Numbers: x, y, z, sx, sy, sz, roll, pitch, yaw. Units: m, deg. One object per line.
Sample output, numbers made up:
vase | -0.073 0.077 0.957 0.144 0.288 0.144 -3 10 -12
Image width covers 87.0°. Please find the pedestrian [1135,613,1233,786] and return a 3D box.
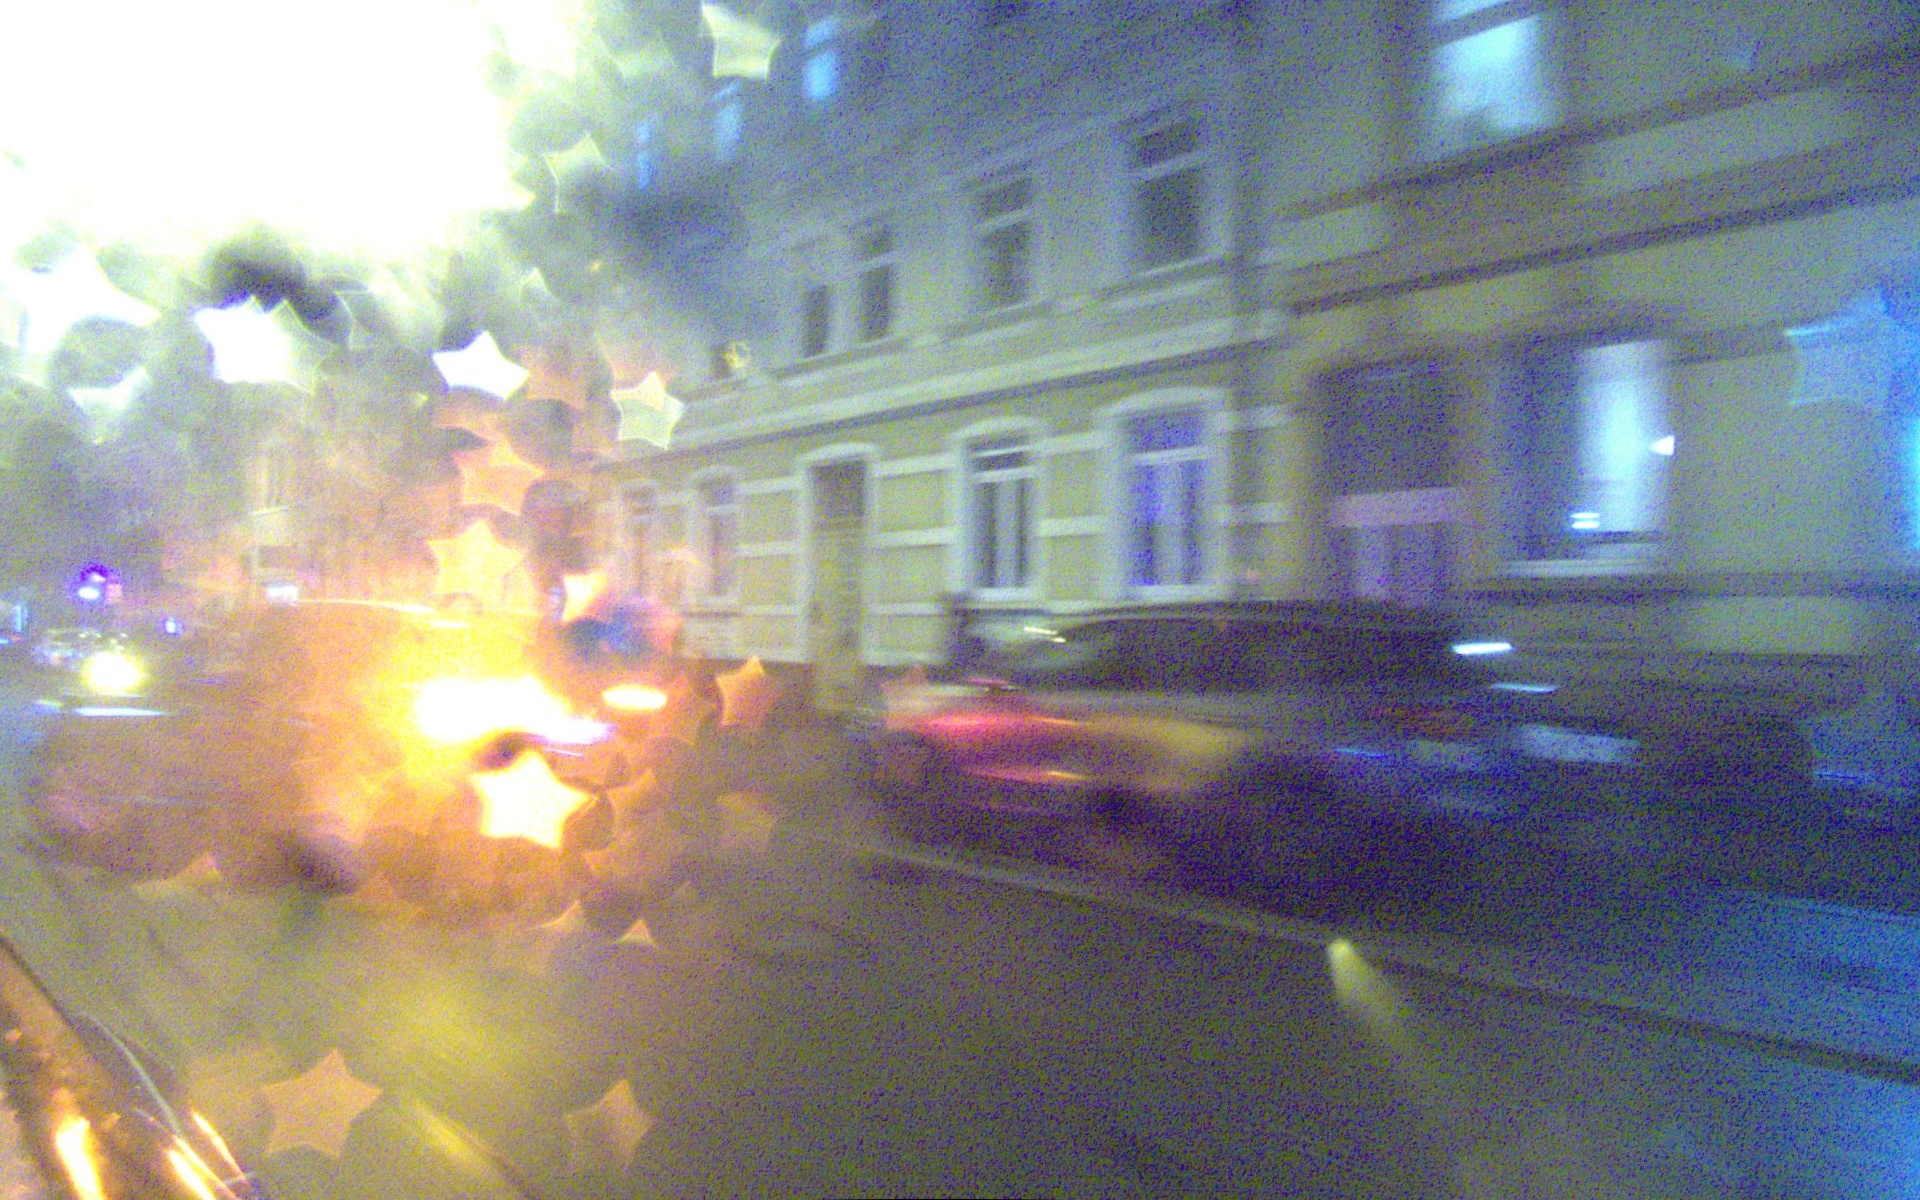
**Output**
pedestrian | 2.162 0.924 9.730 0.759 1.564 0.652 -1 1 27

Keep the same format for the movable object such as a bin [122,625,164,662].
movable object such as a bin | -33.775 1.787 41.838 1.377 1.465 1.090 -1 -3 39

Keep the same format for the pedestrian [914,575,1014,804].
pedestrian | 0.048 0.779 9.195 0.762 1.988 0.656 -1 1 12

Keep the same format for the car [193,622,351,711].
car | -13.700 1.238 20.090 3.764 1.600 1.727 -1 -2 41

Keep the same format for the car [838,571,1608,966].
car | 1.402 0.785 6.659 4.592 1.730 1.813 -1 -2 42

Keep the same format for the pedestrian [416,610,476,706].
pedestrian | -10.141 1.115 19.966 0.987 1.818 0.735 -1 1 45

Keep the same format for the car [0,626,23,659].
car | -47.754 2.103 49.952 4.771 1.494 1.749 -2 1 42

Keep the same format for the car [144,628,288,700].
car | -17.200 1.394 23.324 4.305 1.492 1.813 -1 -2 41

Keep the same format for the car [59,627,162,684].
car | -25.531 1.617 30.376 4.133 1.584 1.756 -1 -2 41

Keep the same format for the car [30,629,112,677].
car | -30.610 1.790 34.816 3.720 1.502 1.654 -1 -1 41

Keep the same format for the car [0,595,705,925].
car | -4.180 0.858 6.837 4.546 1.630 1.911 -1 -3 24

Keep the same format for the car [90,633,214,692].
car | -21.311 1.576 26.639 4.423 1.400 1.803 -1 -2 41

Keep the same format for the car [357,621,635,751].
car | -6.534 1.053 14.003 4.592 1.497 1.813 -1 -2 42
